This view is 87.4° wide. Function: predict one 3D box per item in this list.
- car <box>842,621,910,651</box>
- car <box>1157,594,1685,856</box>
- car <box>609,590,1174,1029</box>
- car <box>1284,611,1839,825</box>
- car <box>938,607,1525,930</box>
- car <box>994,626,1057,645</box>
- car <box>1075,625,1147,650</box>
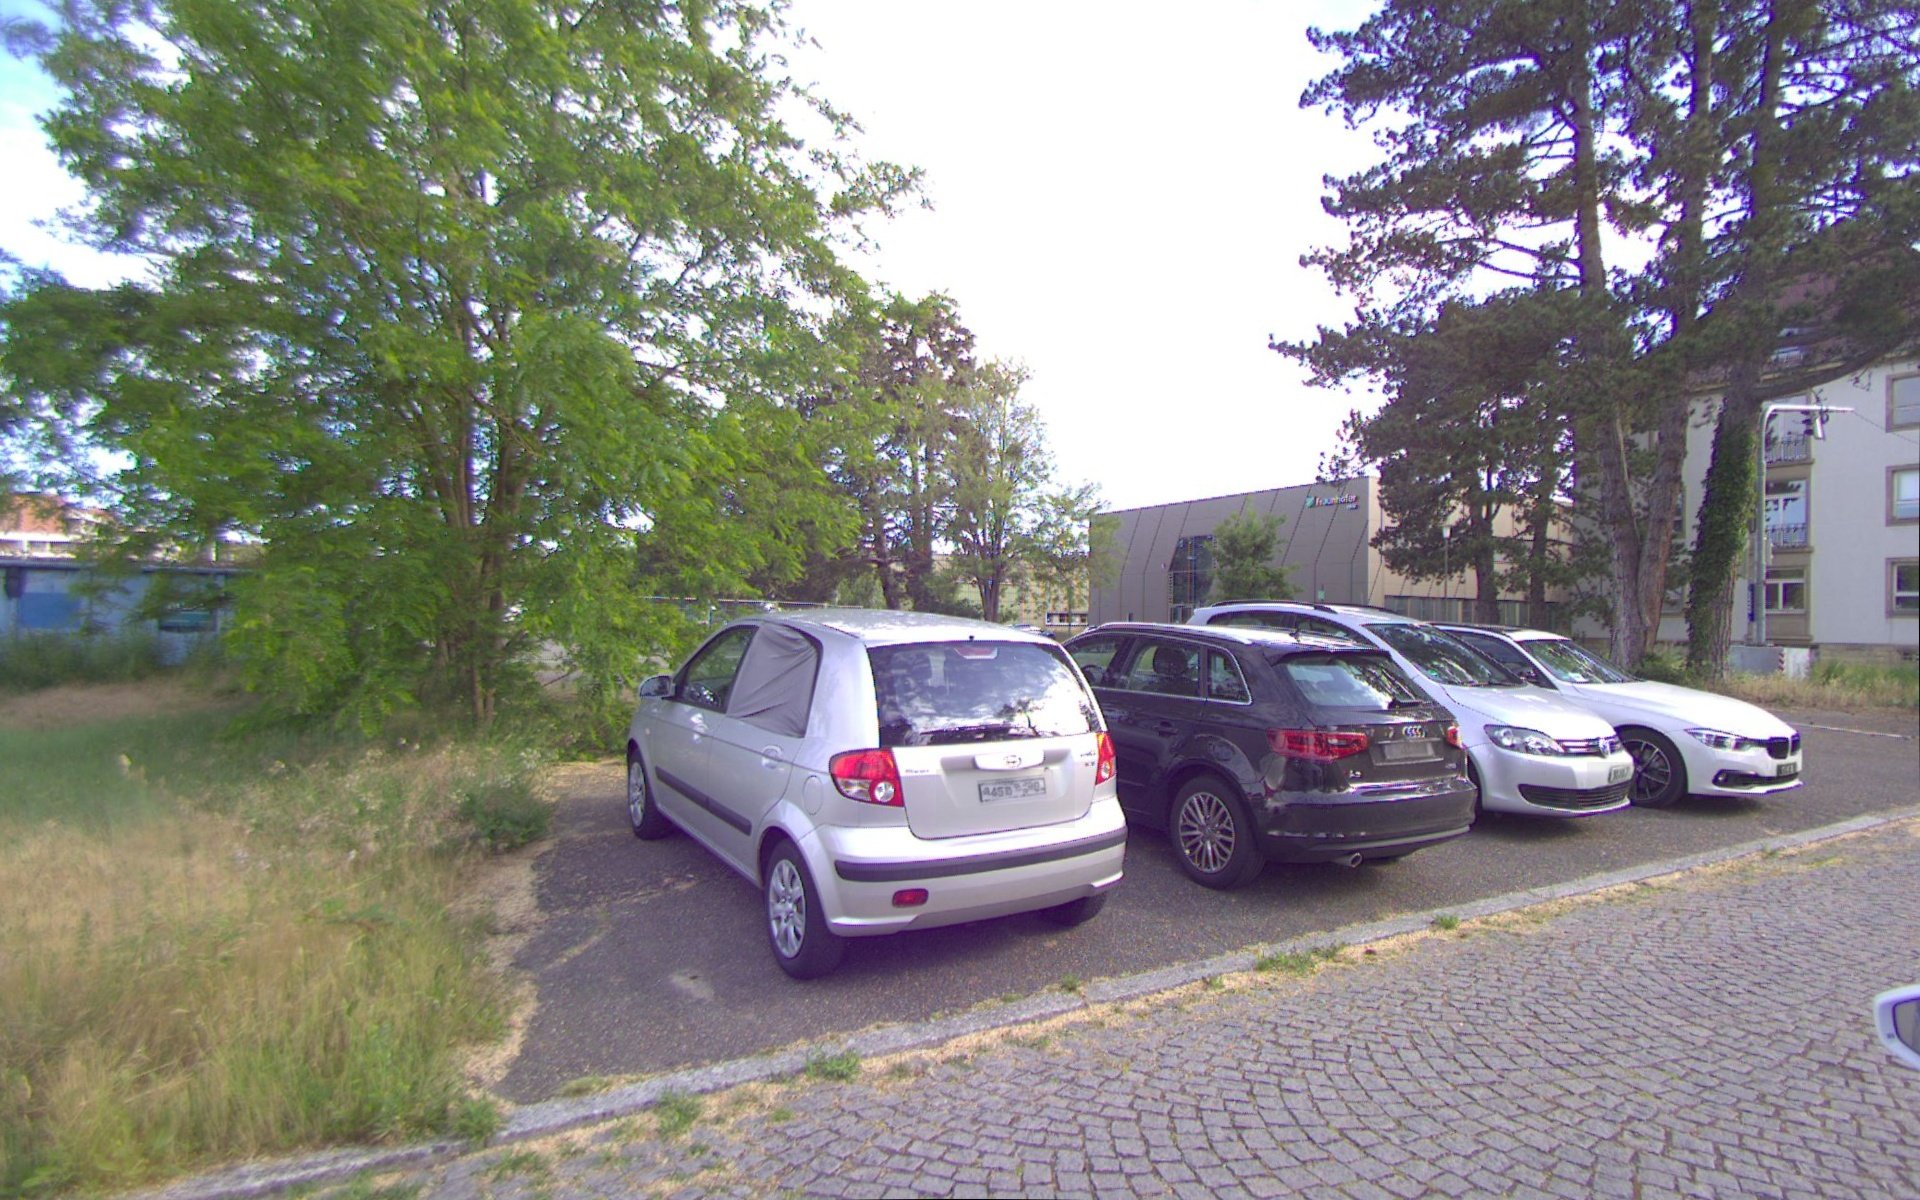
[{"bbox_3d":[-4.010,1.684,47.300,1.575,1.355,3.707,1,-1,-35],"label":"car"},{"bbox_3d":[3.680,0.834,8.686,1.716,1.629,3.809,1,1,-32],"label":"car"},{"bbox_3d":[-0.685,0.766,5.586,1.629,1.495,3.556,2,1,-32],"label":"car"},{"bbox_3d":[5.702,0.953,10.160,1.811,1.461,4.451,1,1,-33],"label":"car"},{"bbox_3d":[1.539,0.857,6.993,1.676,1.427,3.815,1,1,-32],"label":"car"},{"bbox_3d":[4.525,2.444,69.182,4.143,1.289,1.600,1,-1,-27],"label":"car"},{"bbox_3d":[9.228,2.288,61.334,4.078,1.433,1.752,1,-1,-27],"label":"car"}]
